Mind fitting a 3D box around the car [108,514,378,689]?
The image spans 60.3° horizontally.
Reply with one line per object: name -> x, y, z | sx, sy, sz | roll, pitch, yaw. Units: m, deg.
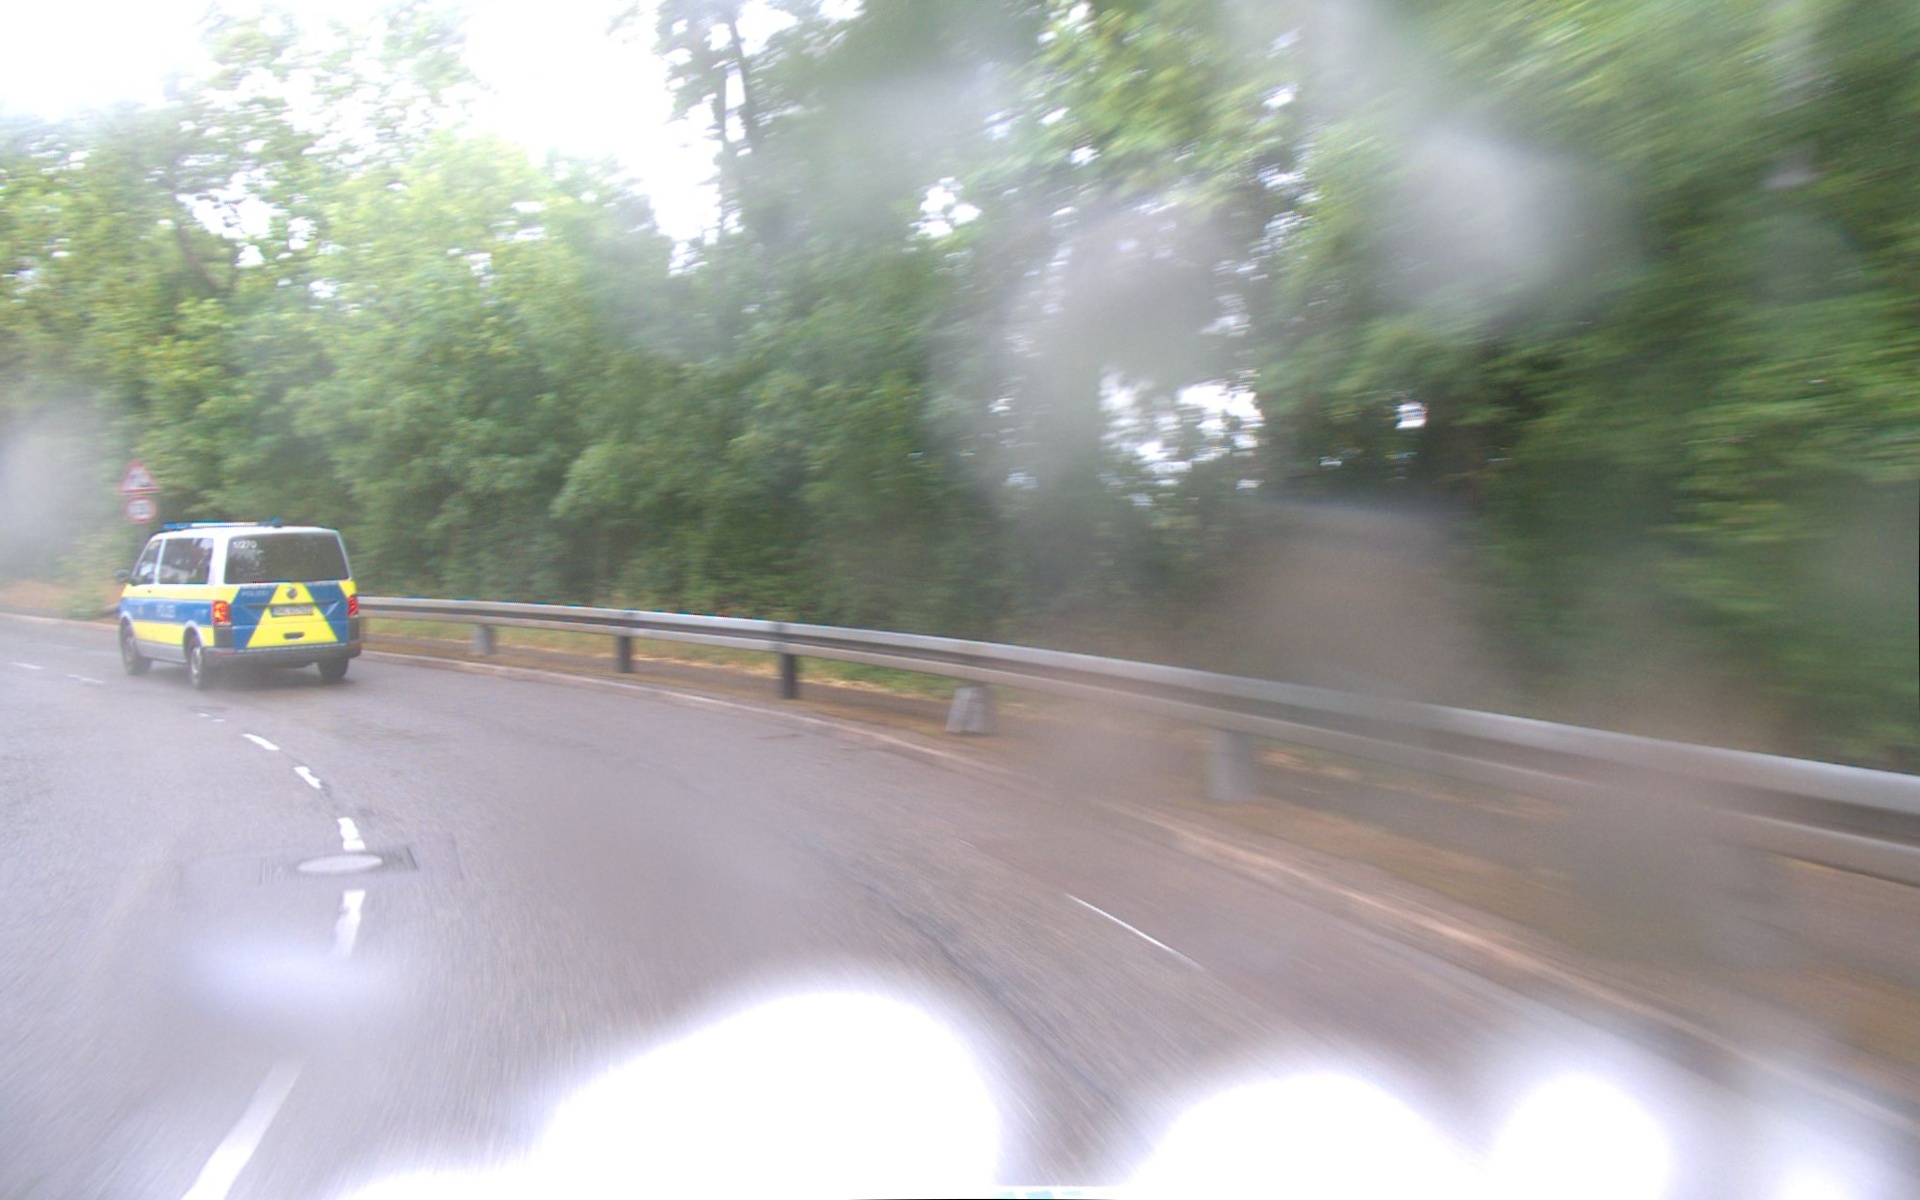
car -> -9.522, -0.033, 21.793 | 1.983, 2.048, 4.335 | -3, 3, -41
